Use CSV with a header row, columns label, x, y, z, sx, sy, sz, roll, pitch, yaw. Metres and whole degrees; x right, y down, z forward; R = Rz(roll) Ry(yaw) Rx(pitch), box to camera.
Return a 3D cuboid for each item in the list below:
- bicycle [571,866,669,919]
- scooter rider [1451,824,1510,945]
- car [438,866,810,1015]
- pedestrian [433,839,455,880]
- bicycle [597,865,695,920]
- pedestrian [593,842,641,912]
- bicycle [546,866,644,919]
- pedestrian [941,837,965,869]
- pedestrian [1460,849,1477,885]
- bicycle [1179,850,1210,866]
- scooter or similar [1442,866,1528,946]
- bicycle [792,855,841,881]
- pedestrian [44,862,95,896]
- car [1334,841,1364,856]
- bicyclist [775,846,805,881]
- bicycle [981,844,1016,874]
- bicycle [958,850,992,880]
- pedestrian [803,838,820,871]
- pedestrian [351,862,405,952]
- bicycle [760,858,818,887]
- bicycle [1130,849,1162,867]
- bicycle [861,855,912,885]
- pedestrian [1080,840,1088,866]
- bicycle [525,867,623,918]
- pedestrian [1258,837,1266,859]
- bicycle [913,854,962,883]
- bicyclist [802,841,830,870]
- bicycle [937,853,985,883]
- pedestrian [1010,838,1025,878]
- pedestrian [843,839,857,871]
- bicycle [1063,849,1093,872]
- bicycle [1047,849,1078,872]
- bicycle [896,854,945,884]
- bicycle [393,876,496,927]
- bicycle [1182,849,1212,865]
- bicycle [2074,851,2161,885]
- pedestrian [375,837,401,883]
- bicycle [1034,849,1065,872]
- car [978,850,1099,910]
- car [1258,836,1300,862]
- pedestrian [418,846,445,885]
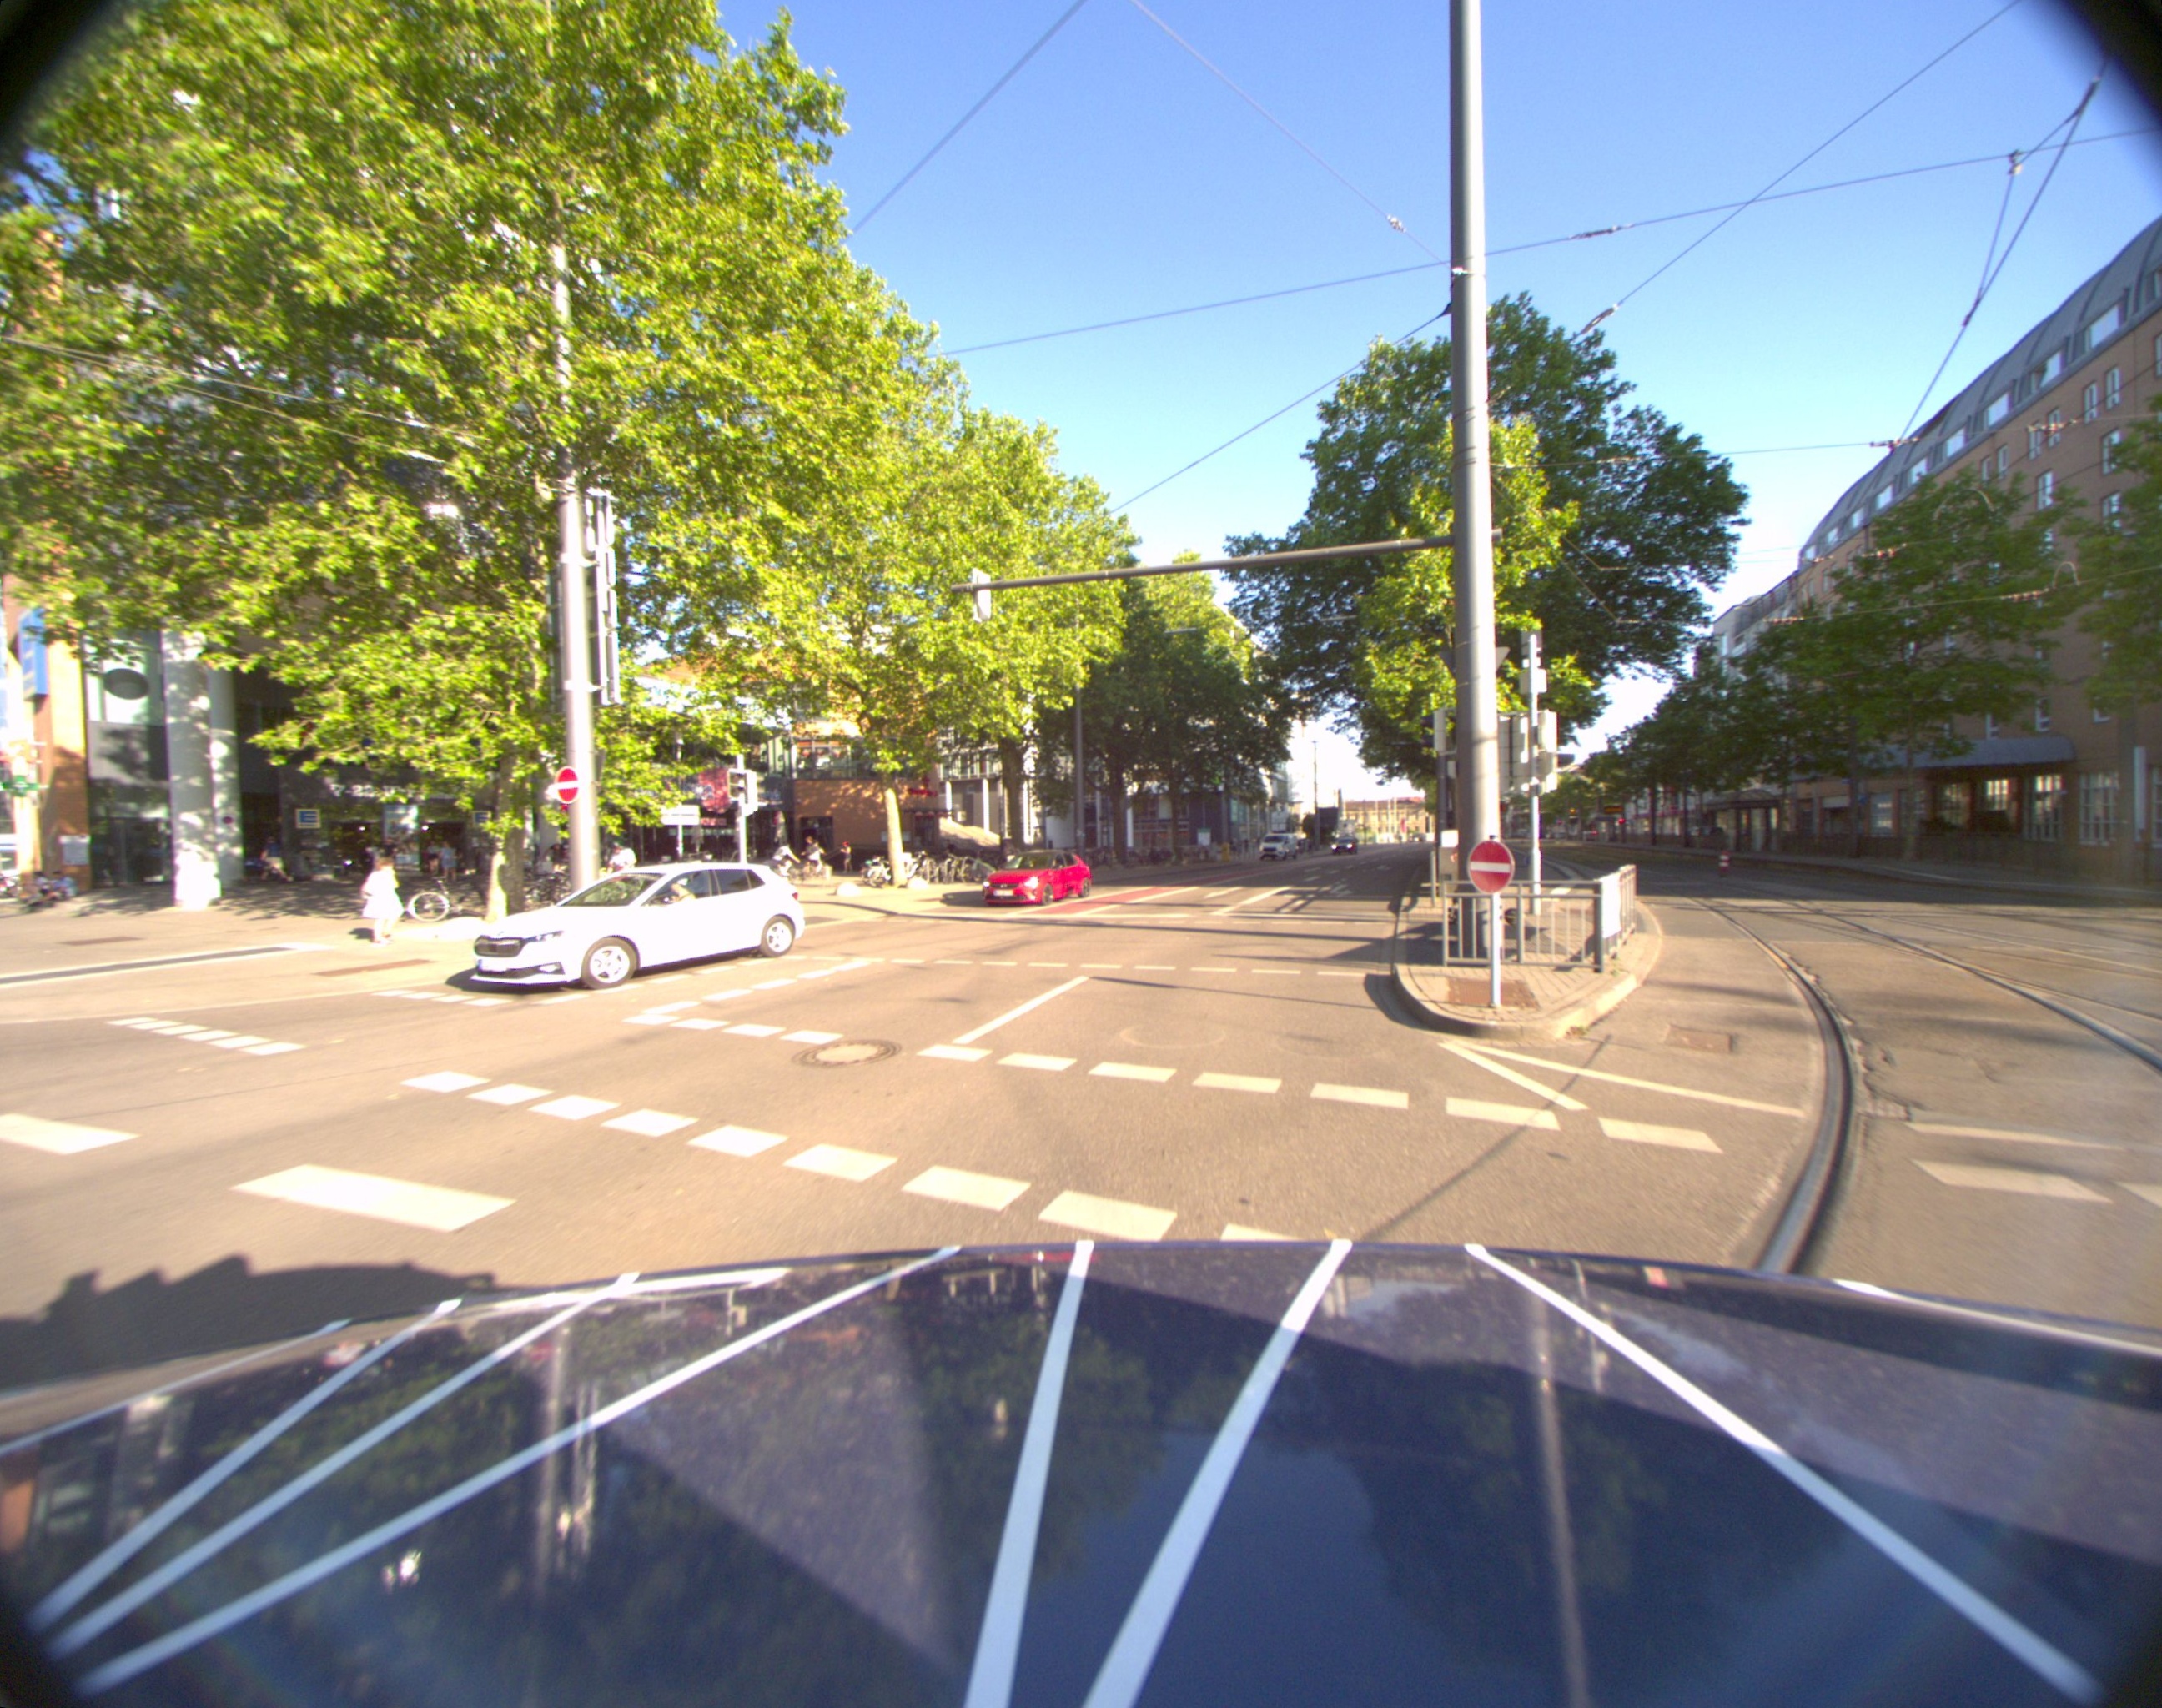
label,x,y,z,sx,sy,sz,roll,pitch,yaw
bicycle,-10.844,0.879,17.946,0.773,1.123,1.846,0,2,23
scooter rider,6.262,0.449,11.899,0.761,1.822,0.589,0,2,32
car,-5.788,0.960,10.225,1.632,1.443,4.006,-1,1,26
pedestrian,-25.590,0.216,30.528,0.596,1.647,0.591,-2,2,-44
bicycle,-10.060,0.860,17.641,0.773,1.123,1.846,0,2,23
pedestrian,-12.195,0.591,19.982,0.895,1.755,0.729,-2,1,-42
bicycle,-11.633,0.898,18.266,0.773,1.123,1.846,0,2,23
pedestrian,-6.165,-0.046,36.736,0.764,1.533,0.876,0,2,22
pedestrian,11.334,0.367,22.212,0.405,1.026,0.379,0,2,20
bicycle,7.486,0.247,50.212,1.942,1.057,0.579,0,2,20
scooter or similar,6.300,0.784,11.863,1.157,1.172,0.456,0,2,32
bicycle,-11.813,0.596,34.013,0.694,1.061,2.018,0,2,33
pedestrian,-33.183,0.817,24.924,0.680,1.075,0.778,0,2,16
car,26.253,-0.566,74.439,1.687,1.420,4.007,-1,1,36
bicyclist,-11.701,0.367,30.535,0.960,1.337,0.673,-2,2,-35
bicycle,-3.584,0.184,32.789,0.784,1.182,3.552,-1,1,-18
bicycle,-4.510,0.433,32.093,0.784,1.182,3.552,-1,1,-18
pedestrian,-13.606,0.005,38.320,0.542,1.660,0.572,1,2,42
pedestrian,-12.396,0.918,13.406,0.573,1.529,0.483,-2,2,-32
bicycle,-11.722,0.729,30.525,2.018,1.061,0.694,-2,2,-36
bicycle,4.040,0.243,47.249,1.942,1.057,0.579,0,2,20
bicycle,-7.582,0.607,29.725,0.781,1.057,1.950,0,1,28
pedestrian,0.189,-0.057,45.343,0.410,1.546,0.447,-1,2,-3
bicycle,-12.380,0.916,18.635,0.773,1.123,1.846,0,2,23
pedestrian,14.755,-0.498,61.885,0.560,1.788,0.594,0,2,23
bicycle,-5.521,0.550,29.372,0.781,1.057,1.950,0,1,28
bicyclist,-11.837,0.050,33.979,0.673,1.292,0.961,0,2,34
bicycle,-4.556,0.526,29.073,0.781,1.057,1.950,0,1,28
pedestrian,-2.654,0.150,31.827,0.570,1.660,0.543,-1,2,-3
pedestrian,-12.192,0.031,40.042,0.544,1.660,0.569,-2,2,-33
bicycle,-0.146,0.292,36.707,0.577,1.057,1.950,0,1,28
bicycle,-0.890,0.310,37.058,0.577,1.057,1.950,0,1,28
bicycle,-6.270,0.567,29.776,0.781,1.057,1.950,0,1,28
bicycle,-14.588,1.061,17.462,0.547,1.030,1.702,0,1,28
bicycle,8.007,0.201,52.457,1.942,1.057,0.579,0,2,20
bicycle,33.190,0.431,24.379,0.612,1.013,2.157,0,2,23
pedestrian,-26.779,0.230,29.367,0.594,1.745,0.594,-2,2,-32
bicycle,-1.536,0.323,37.518,0.577,1.057,1.950,0,1,28
car,-1.054,0.656,21.059,1.688,1.420,4.006,-1,1,23
car,15.556,-0.430,59.595,1.967,1.935,4.974,-1,1,29
pedestrian,-27.458,0.480,32.131,0.561,1.647,0.592,-1,2,-6
